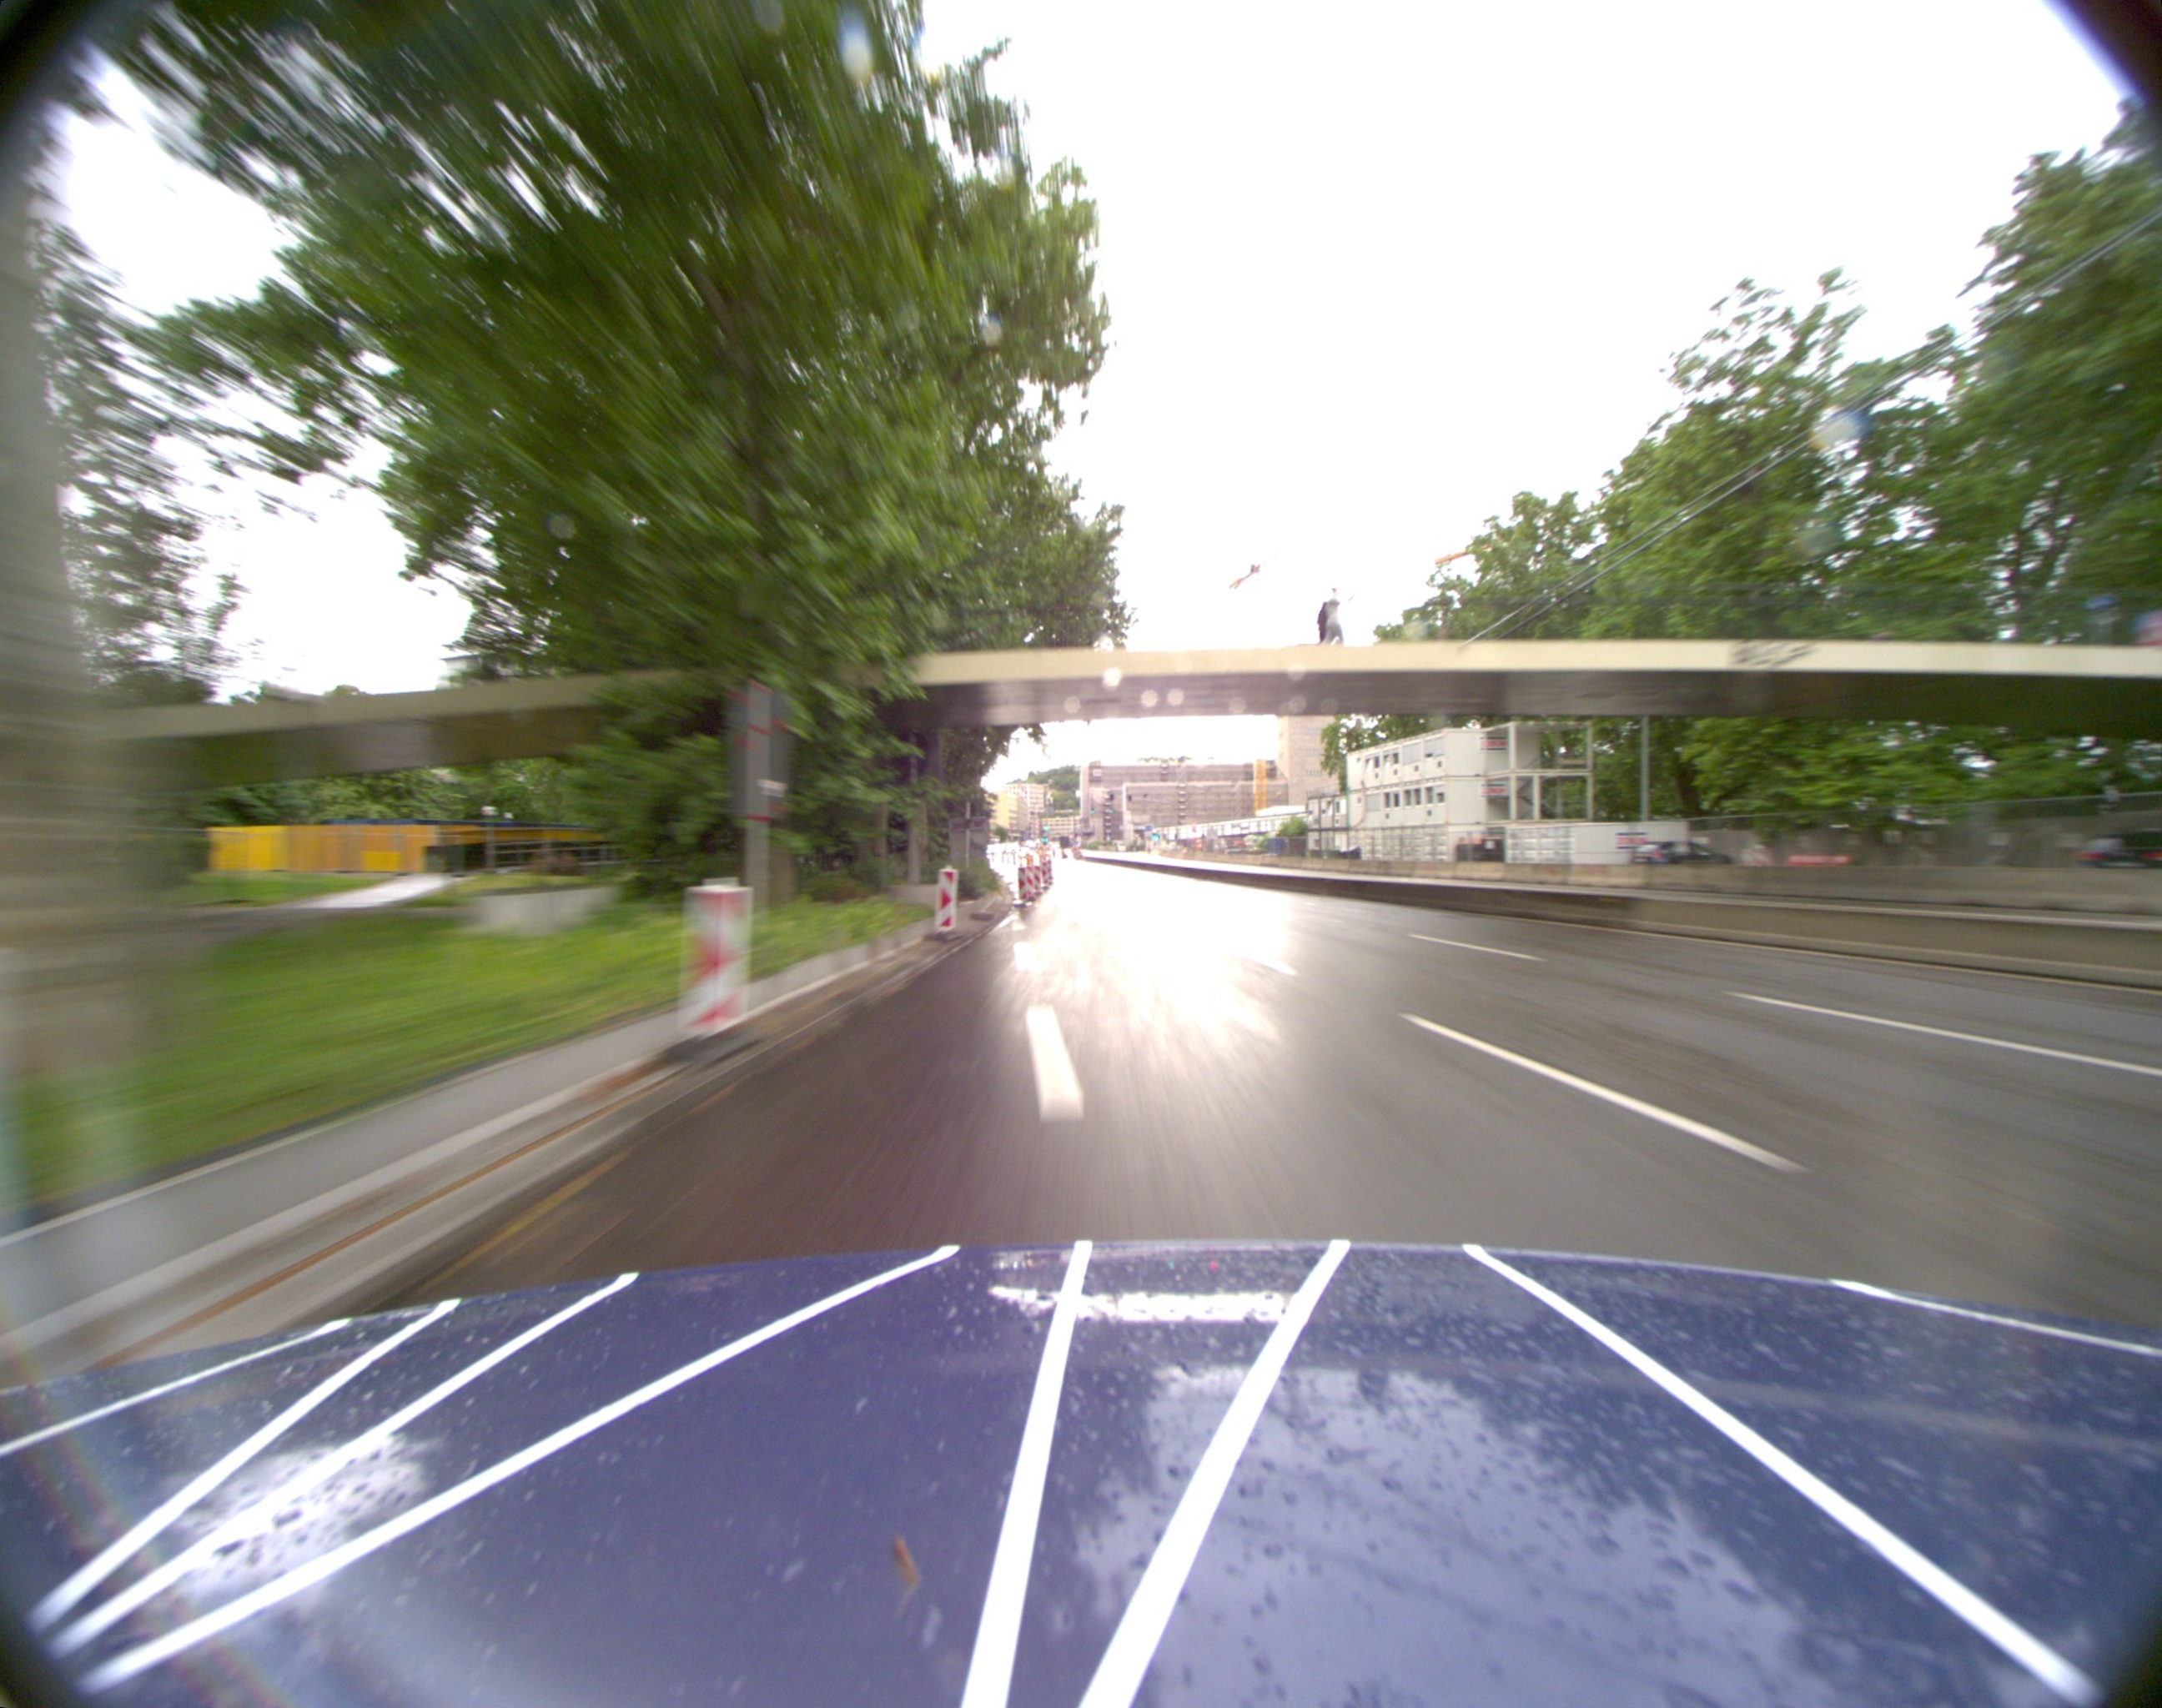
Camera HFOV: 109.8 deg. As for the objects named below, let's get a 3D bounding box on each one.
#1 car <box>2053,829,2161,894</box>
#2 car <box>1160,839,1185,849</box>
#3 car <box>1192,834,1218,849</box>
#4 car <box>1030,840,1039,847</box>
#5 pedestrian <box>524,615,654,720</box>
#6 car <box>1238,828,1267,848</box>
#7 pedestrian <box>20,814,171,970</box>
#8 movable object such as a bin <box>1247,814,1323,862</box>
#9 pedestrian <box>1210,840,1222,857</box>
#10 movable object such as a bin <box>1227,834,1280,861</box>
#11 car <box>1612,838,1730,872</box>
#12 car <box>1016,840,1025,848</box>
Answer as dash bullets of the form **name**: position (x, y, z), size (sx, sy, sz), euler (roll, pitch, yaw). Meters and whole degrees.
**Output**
- **car**: position (28.845, 0.156, 20.306), size (4.440, 1.618, 1.956), euler (0, 1, -15)
- **car**: position (18.870, -2.099, 156.474), size (2.004, 2.002, 5.011), euler (-1, 1, -45)
- **car**: position (18.827, -1.895, 115.543), size (2.001, 2.089, 5.575), euler (1, 1, -12)
- **car**: position (-10.982, -2.546, 180.020), size (1.833, 1.643, 4.569), euler (0, 1, -8)
- **pedestrian**: position (-10.552, -3.986, 16.379), size (1.991, 2.002, 1.111), euler (-1, 2, -3)
- **car**: position (26.992, -2.476, 119.584), size (2.281, 3.049, 6.162), euler (0, 2, -10)
- **pedestrian**: position (-13.508, 0.487, 10.472), size (1.054, 2.002, 1.036), euler (-1, 1, -41)
- **movable object such as a bin**: position (21.416, -1.741, 80.358), size (4.765, 4.776, 8.350), euler (0, 2, -9)
- **pedestrian**: position (15.592, -0.642, 87.498), size (1.182, 2.002, 1.173), euler (-2, 2, 3)
- **movable object such as a bin**: position (20.165, -0.826, 89.317), size (3.945, 3.111, 6.381), euler (0, 1, -9)
- **car**: position (26.783, 0.018, 34.574), size (4.000, 1.435, 1.998), euler (0, 2, -8)
- **car**: position (-14.332, -2.348, 180.152), size (2.000, 1.804, 4.289), euler (0, 1, -8)
